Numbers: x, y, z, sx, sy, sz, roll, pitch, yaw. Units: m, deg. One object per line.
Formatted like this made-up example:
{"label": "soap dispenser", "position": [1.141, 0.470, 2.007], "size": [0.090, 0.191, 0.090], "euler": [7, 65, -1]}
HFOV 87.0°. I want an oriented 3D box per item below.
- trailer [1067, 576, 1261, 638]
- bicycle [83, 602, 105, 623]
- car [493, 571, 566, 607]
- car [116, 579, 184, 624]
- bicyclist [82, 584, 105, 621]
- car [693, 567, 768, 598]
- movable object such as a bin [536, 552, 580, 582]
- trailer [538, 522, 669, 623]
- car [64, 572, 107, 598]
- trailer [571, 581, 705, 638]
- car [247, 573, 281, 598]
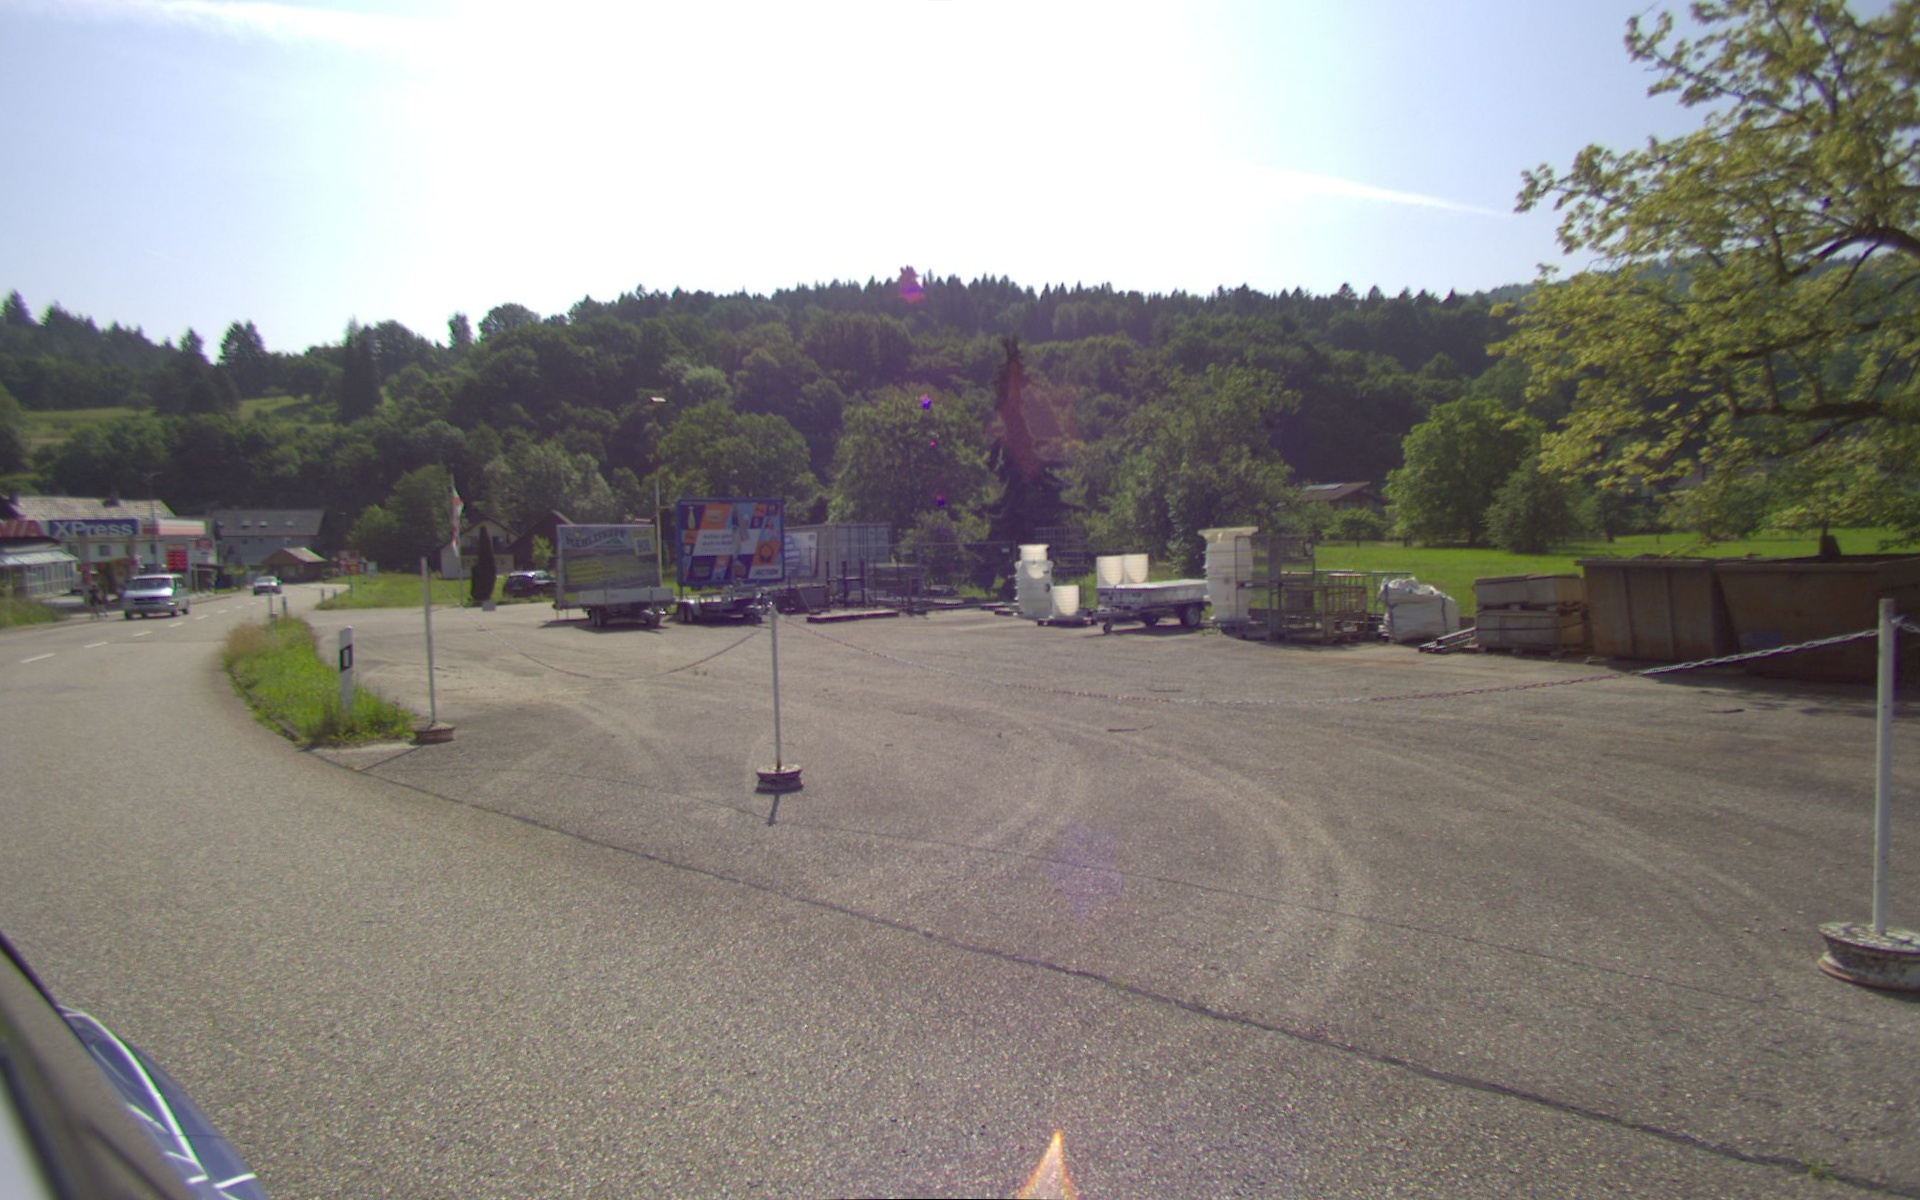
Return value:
{"label": "trailer", "position": [4.426, 0.099, 21.865], "size": [3.879, 0.946, 1.873], "euler": [-5, 5, -32]}
{"label": "bicycle", "position": [-40.629, 0.586, 47.506], "size": [0.680, 0.924, 1.953], "euler": [-7, 3, -39]}
{"label": "car", "position": [-22.464, -0.638, 53.043], "size": [1.810, 1.661, 4.911], "euler": [-2, 2, -2]}
{"label": "car", "position": [-36.659, -0.004, 45.899], "size": [1.865, 1.871, 4.716], "euler": [-3, 3, -33]}
{"label": "bicyclist", "position": [-40.698, 0.124, 47.530], "size": [0.680, 1.644, 1.143], "euler": [-6, 3, -40]}
{"label": "car", "position": [-12.607, -0.975, 55.597], "size": [3.867, 1.496, 1.923], "euler": [-3, 2, -16]}
{"label": "movable object such as a bin", "position": [-44.646, -3.655, 112.435], "size": [4.122, 3.160, 2.209], "euler": [-3, 3, -15]}
{"label": "trailer", "position": [-11.283, -0.904, 32.105], "size": [3.348, 2.933, 1.888], "euler": [-5, 4, -36]}
{"label": "car", "position": [-67.744, -1.186, 78.436], "size": [1.657, 1.829, 4.013], "euler": [-5, 5, -30]}
{"label": "trailer", "position": [-8.912, 0.186, 27.665], "size": [1.967, 1.235, 5.561], "euler": [-5, 4, -34]}
{"label": "car", "position": [-56.248, -1.199, 81.851], "size": [1.738, 1.758, 3.994], "euler": [-4, 5, -27]}
